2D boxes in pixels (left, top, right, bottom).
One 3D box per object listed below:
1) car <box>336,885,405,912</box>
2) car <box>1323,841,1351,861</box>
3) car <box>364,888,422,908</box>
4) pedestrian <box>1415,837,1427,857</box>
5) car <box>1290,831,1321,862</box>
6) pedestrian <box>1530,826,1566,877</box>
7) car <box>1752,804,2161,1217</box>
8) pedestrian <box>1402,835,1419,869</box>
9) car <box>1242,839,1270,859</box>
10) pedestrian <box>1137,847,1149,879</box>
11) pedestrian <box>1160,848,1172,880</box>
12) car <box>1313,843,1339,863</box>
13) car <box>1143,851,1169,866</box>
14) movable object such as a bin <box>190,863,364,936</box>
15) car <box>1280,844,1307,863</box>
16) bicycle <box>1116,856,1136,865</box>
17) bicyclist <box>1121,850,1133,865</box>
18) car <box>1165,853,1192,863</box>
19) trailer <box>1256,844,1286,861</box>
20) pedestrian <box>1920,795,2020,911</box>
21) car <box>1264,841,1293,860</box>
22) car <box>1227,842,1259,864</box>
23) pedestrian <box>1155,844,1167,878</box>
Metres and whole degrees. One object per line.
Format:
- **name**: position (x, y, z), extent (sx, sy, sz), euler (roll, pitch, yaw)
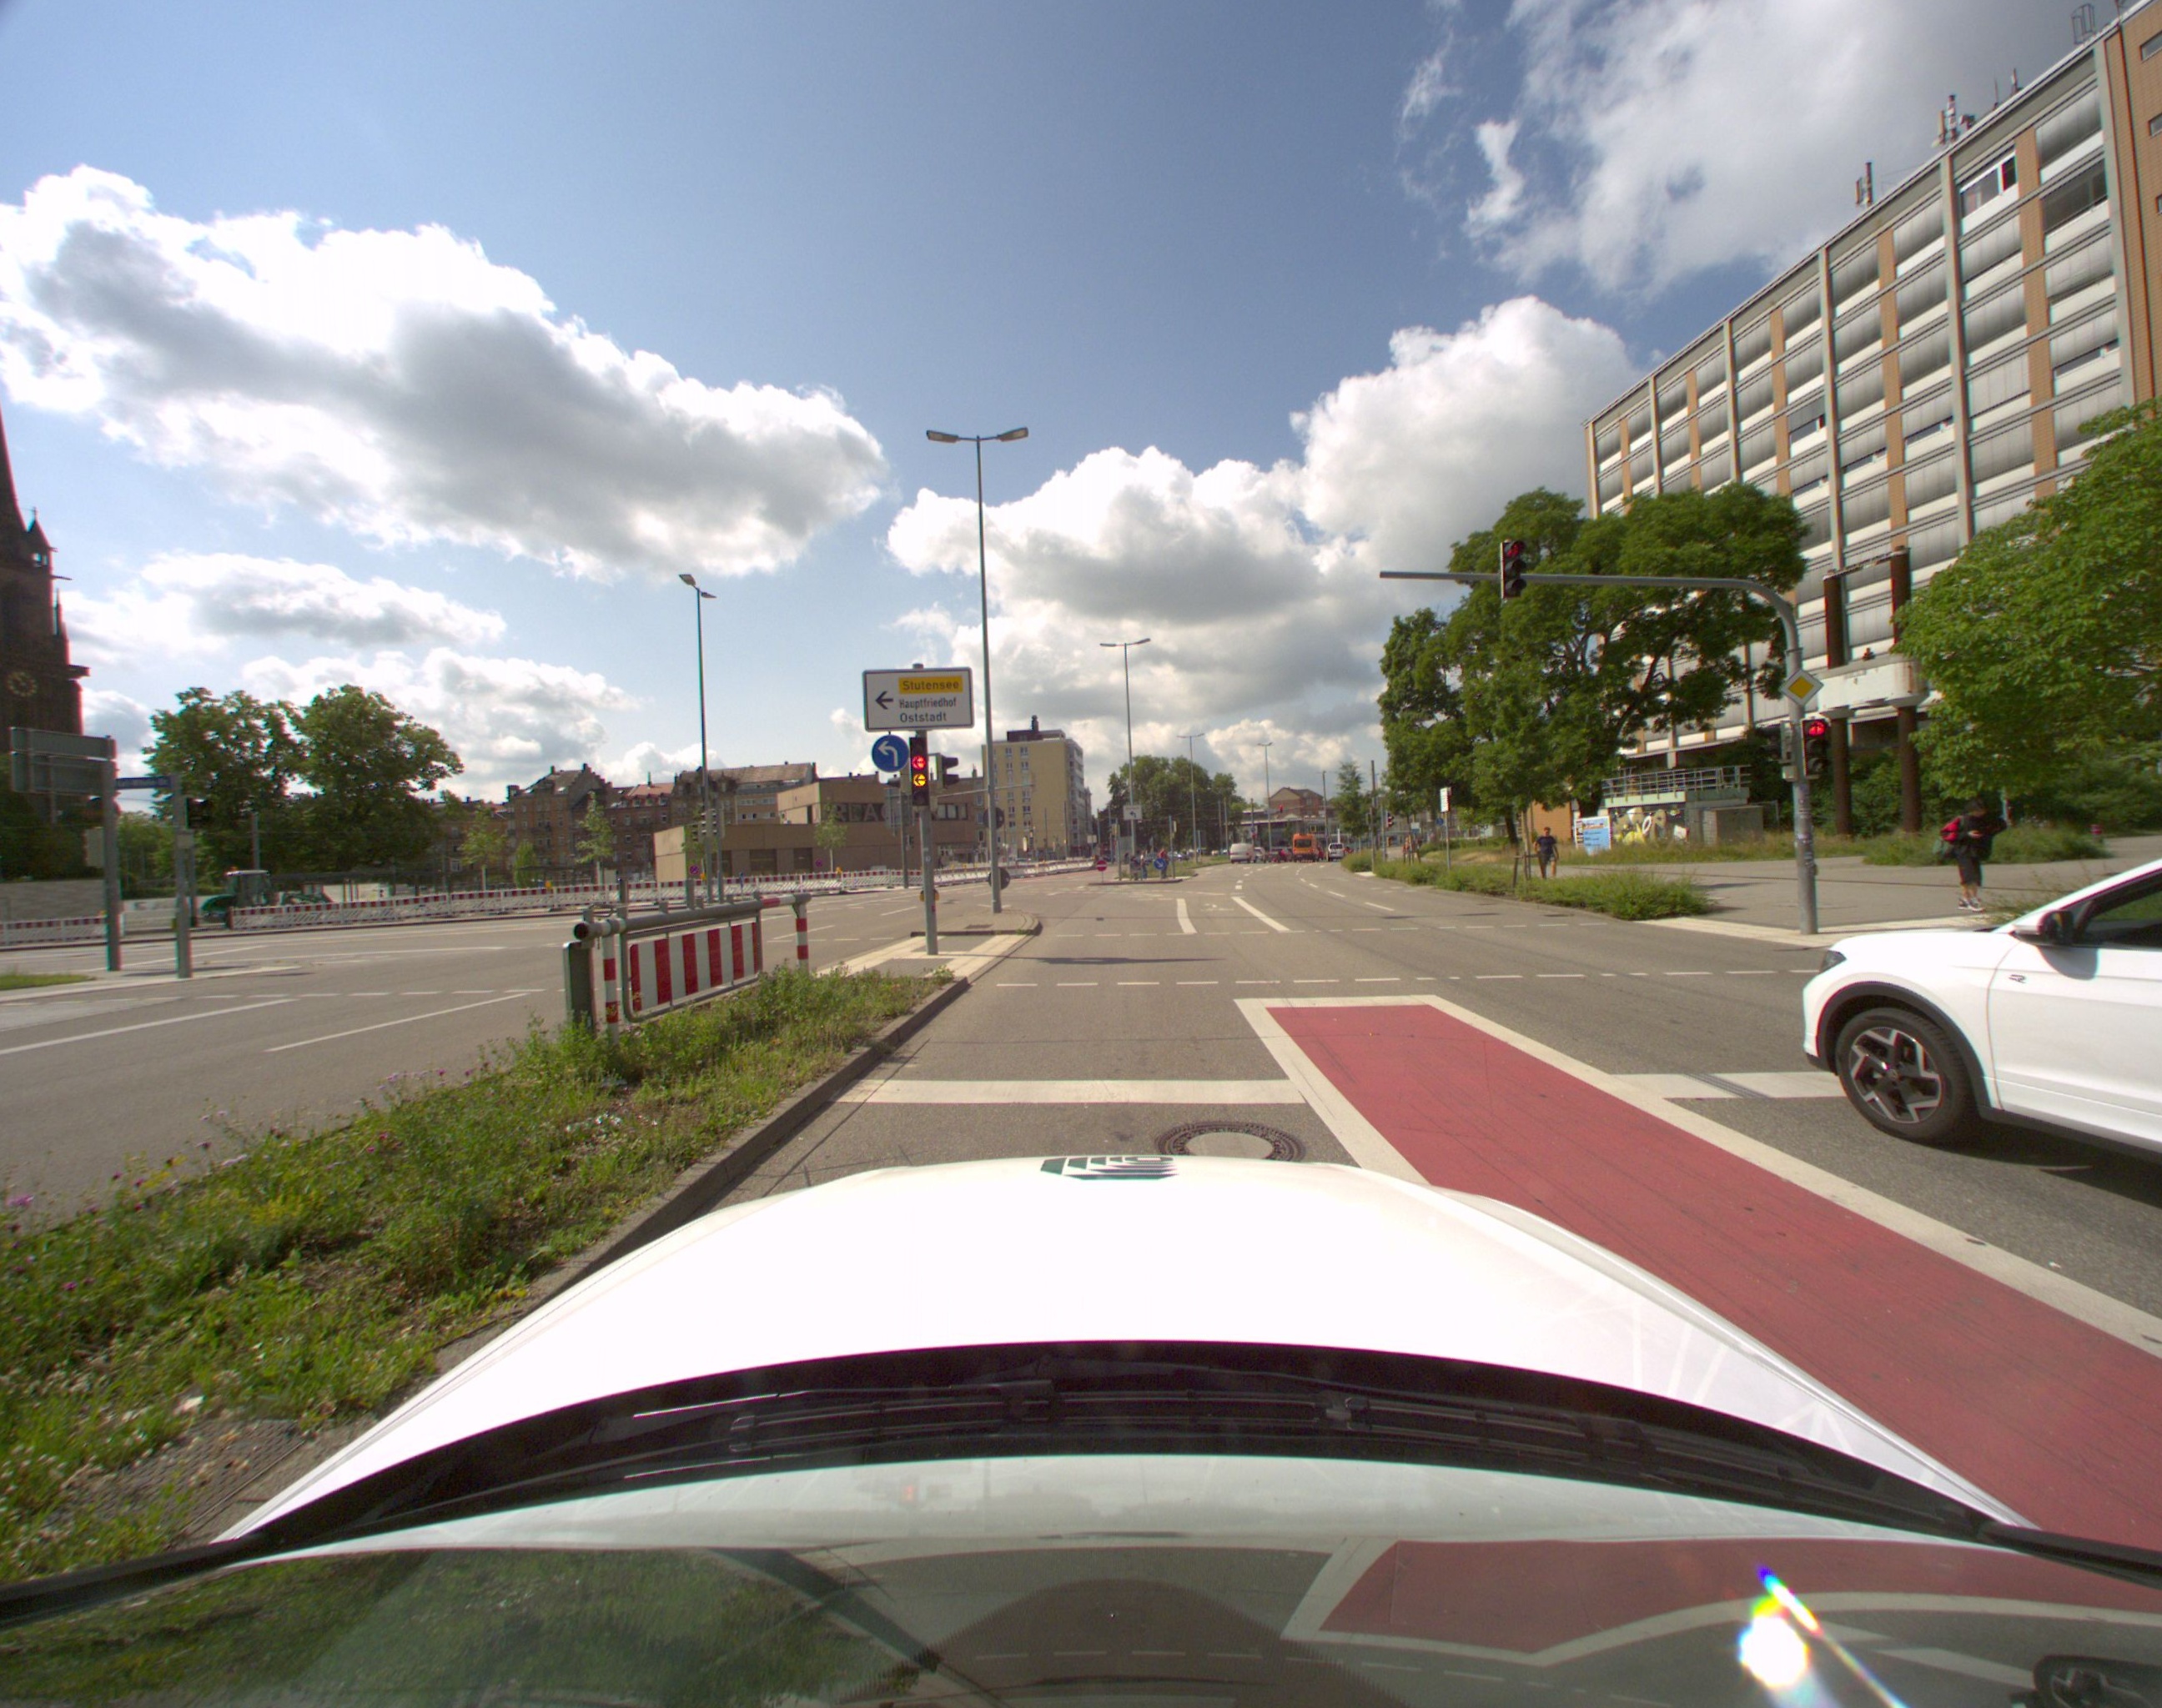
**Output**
- **car**: position (-58.901, 3.673, 67.585), extent (4.201, 1.882, 1.782), euler (-3, 0, -39)
- **car**: position (24.850, -0.321, 78.986), extent (1.975, 1.795, 4.024), euler (-4, 0, 25)
- **car**: position (-73.028, 4.611, 86.543), extent (4.385, 1.793, 1.766), euler (-3, 0, -30)
- **pedestrian**: position (30.339, -0.647, 72.695), extent (0.780, 1.784, 0.671), euler (-3, 0, 36)
- **car**: position (21.774, -0.777, 78.899), extent (2.111, 2.780, 4.665), euler (-4, 0, 24)
- **pedestrian**: position (14.324, -0.076, 24.987), extent (0.766, 1.508, 0.553), euler (-2, 0, 5)
- **car**: position (4.910, 0.566, 2.883), extent (1.785, 1.539, 4.011), euler (-1, 0, 0)
- **pedestrian**: position (17.094, -0.103, 42.263), extent (0.656, 1.733, 0.579), euler (-3, 0, 8)
- **car**: position (19.084, -0.584, 88.850), extent (1.973, 1.938, 4.665), euler (-4, 0, 24)
- **pedestrian**: position (3.346, 0.482, 43.825), extent (0.521, 1.733, 0.625), euler (-3, 0, 9)
- **pedestrian**: position (4.689, 0.546, 44.928), extent (0.521, 1.684, 0.625), euler (-3, 0, 9)
- **car**: position (26.148, -0.171, 86.737), extent (1.973, 1.938, 4.665), euler (-4, 0, 24)
- **car**: position (7.937, 0.447, 85.590), extent (1.777, 1.388, 4.247), euler (-2, 0, 18)
- **movable object such as a bin**: position (-37.298, 2.032, 37.930), extent (2.259, 2.884, 5.576), euler (-4, -1, 43)
- **car**: position (23.005, -0.081, 87.993), extent (1.973, 1.938, 4.665), euler (-4, 0, 24)
- **bicycle**: position (5.855, 0.874, 106.564), extent (2.359, 1.066, 0.863), euler (-3, 0, 20)
- **bicyclist**: position (6.022, 0.440, 106.501), extent (1.209, 1.909, 0.863), euler (-3, 0, 20)
- **car**: position (14.454, 0.599, 121.051), extent (1.676, 1.480, 4.014), euler (0, 1, -40)
- **trailer**: position (18.389, -0.123, 78.655), extent (1.975, 1.477, 4.023), euler (-4, 0, 25)
- **pedestrian**: position (13.929, -0.015, 12.774), extent (0.739, 1.735, 0.679), euler (-3, 0, 3)
- **car**: position (19.869, -0.366, 81.863), extent (1.975, 1.826, 4.023), euler (-4, 0, 25)
- **car**: position (16.200, -0.121, 81.190), extent (1.987, 1.966, 4.665), euler (-4, 0, 24)
- **pedestrian**: position (4.205, 0.348, 42.640), extent (0.521, 1.733, 0.625), euler (-3, 0, 9)
